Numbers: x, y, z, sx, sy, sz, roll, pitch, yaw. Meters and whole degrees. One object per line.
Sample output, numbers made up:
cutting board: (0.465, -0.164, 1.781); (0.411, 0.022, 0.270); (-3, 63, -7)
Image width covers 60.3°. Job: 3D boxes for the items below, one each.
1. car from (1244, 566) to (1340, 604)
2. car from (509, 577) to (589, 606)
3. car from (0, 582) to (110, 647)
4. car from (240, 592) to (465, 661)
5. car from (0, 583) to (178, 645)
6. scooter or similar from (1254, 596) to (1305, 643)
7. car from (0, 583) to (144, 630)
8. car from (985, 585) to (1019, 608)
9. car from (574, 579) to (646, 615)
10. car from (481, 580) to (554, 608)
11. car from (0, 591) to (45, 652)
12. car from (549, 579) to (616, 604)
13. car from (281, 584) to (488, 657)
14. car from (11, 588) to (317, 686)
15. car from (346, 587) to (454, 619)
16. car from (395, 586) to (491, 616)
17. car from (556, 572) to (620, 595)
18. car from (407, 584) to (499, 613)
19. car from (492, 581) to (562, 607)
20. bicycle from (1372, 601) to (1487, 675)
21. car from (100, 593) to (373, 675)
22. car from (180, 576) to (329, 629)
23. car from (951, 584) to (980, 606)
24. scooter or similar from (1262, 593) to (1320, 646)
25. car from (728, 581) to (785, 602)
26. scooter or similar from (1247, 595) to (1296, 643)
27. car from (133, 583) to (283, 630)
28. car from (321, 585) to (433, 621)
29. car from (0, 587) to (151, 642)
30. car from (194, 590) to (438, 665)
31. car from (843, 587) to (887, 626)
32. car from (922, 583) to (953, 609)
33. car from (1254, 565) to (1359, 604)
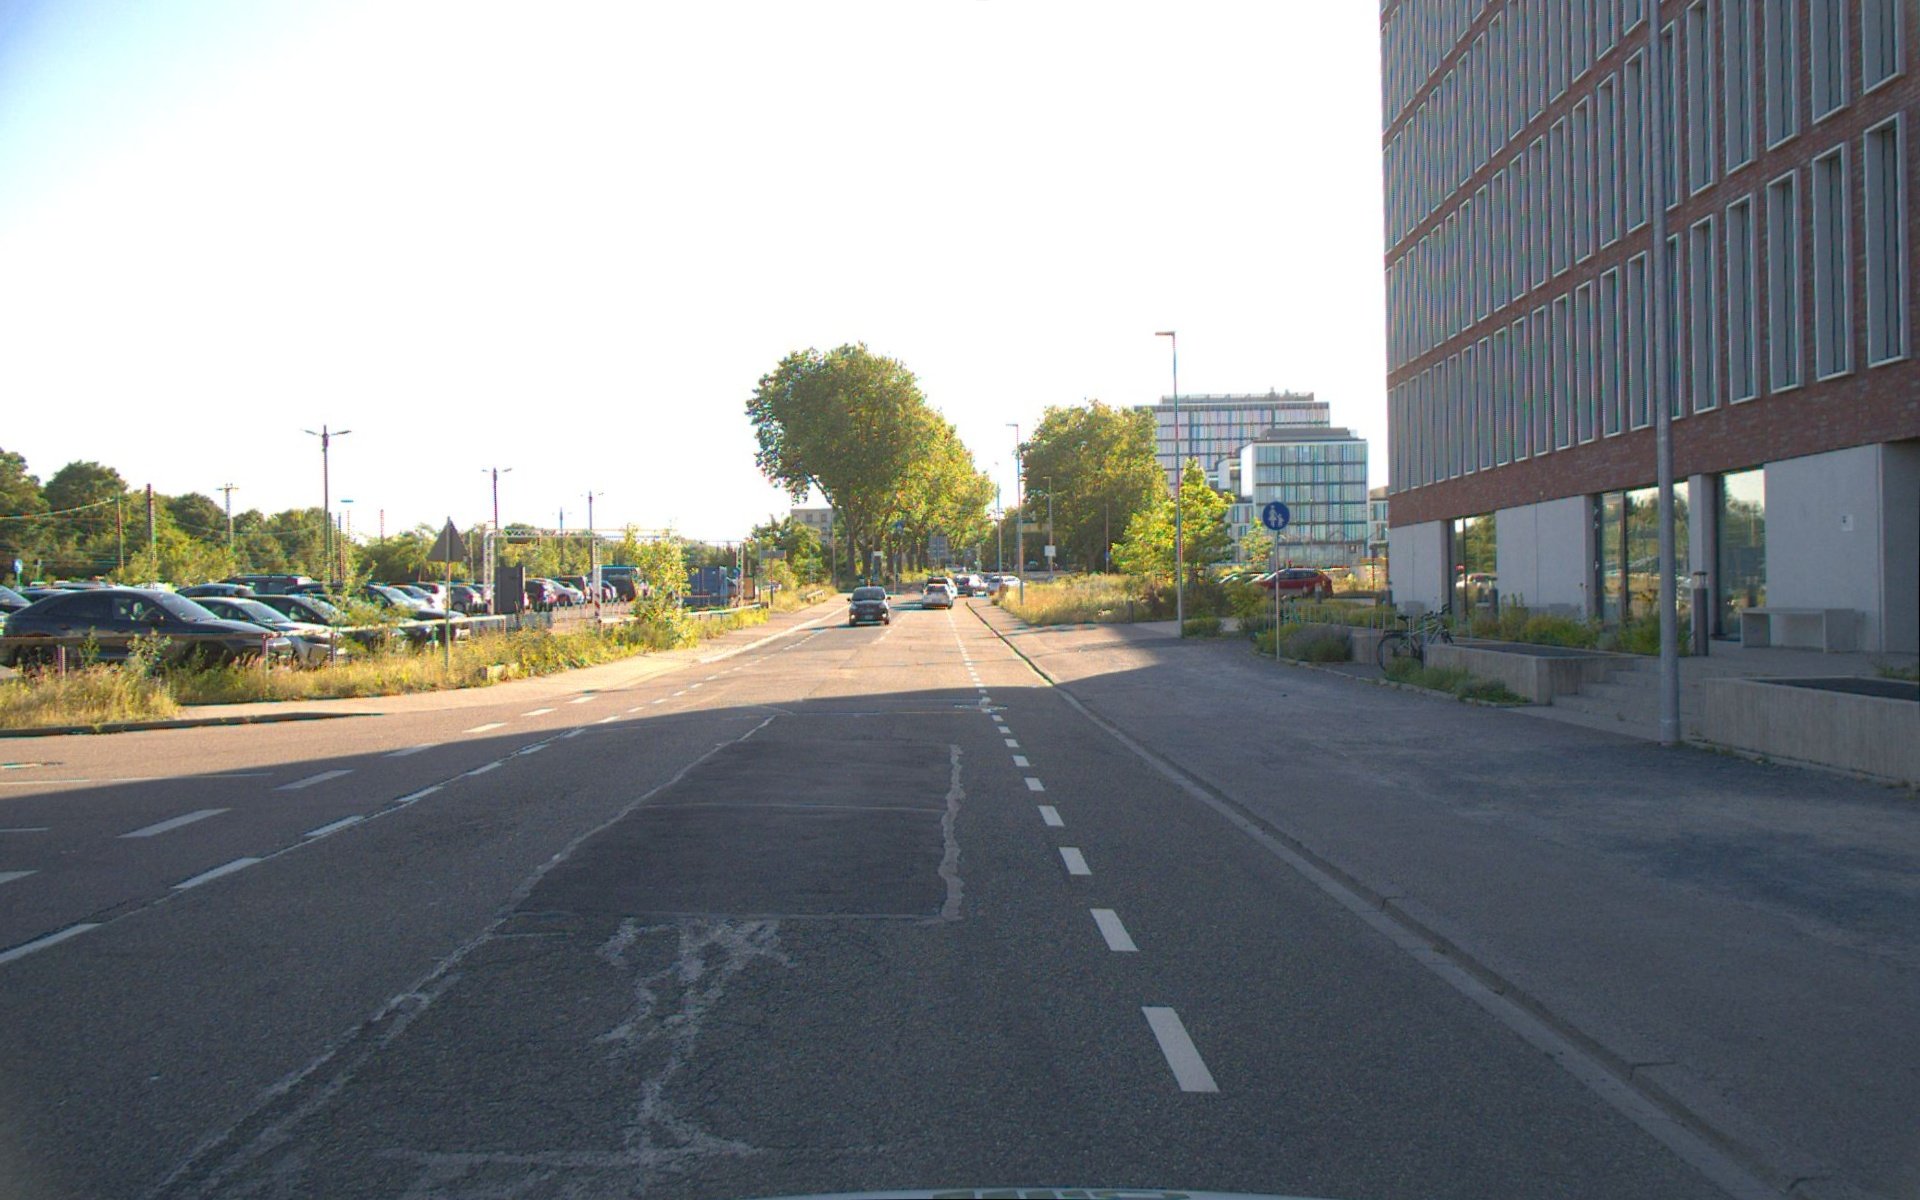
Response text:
car: (15.341, -0.701, 76.574); (4.097, 1.608, 1.852); (0, -3, 2)
car: (-25.726, -0.565, 103.658); (4.484, 1.771, 2.059); (0, 1, 3)
car: (-24.263, 0.364, 42.180); (4.079, 1.606, 2.047); (-1, 0, -5)
car: (-13.761, 0.572, 37.646); (4.337, 1.487, 2.049); (0, 0, 0)
car: (-24.694, 0.372, 46.925); (4.078, 1.691, 1.965); (0, 0, -4)
scooter or similar: (8.104, 0.488, 41.962); (1.217, 1.176, 0.366); (-1, 0, 3)
car: (-30.376, 0.204, 56.303); (4.277, 1.572, 1.857); (0, 1, 0)
car: (3.378, -0.292, 132.181); (2.117, 1.713, 4.004); (-1, 0, 11)
car: (-25.840, -0.213, 122.226); (4.827, 2.503, 2.319); (-1, 0, -2)
car: (-25.773, -0.366, 96.398); (3.804, 1.631, 1.878); (0, 1, -2)
car: (-24.415, 0.506, 39.372); (4.079, 1.421, 2.047); (-1, 0, -5)
car: (-26.124, -0.597, 114.612); (4.234, 1.646, 1.878); (0, 1, -2)
car: (-14.065, 0.480, 40.614); (4.337, 1.699, 2.049); (0, 0, 0)
car: (-13.820, 0.617, 28.909); (4.337, 1.608, 2.049); (0, 0, 0)
car: (-25.335, 0.140, 74.899); (4.233, 1.417, 1.878); (0, 1, 0)
car: (-25.855, 0.040, 82.799); (4.234, 1.444, 1.878); (0, 1, -2)
car: (-26.290, -1.187, 117.114); (4.122, 1.646, 1.878); (0, 1, -2)
car: (-26.235, -0.099, 85.667); (4.234, 1.444, 1.878); (0, 1, -2)
car: (-26.358, -0.397, 100.788); (3.804, 1.546, 1.878); (0, 1, -2)
bicycle: (8.163, 0.653, 28.741); (1.895, 1.190, 0.375); (-2, 0, -7)
car: (-13.835, 0.634, 31.814); (4.337, 1.487, 2.049); (0, 0, 0)
car: (-25.121, 0.082, 58.999); (4.482, 1.836, 1.857); (0, 1, 0)
car: (0.455, -0.368, 126.606); (2.119, 1.713, 4.001); (0, 0, 1)
scooter or similar: (8.084, 0.478, 40.404); (1.312, 1.267, 0.424); (-1, 0, 3)
car: (-16.169, -0.676, 131.635); (4.336, 1.585, 1.878); (0, 1, -2)
scooter or similar: (8.183, 0.497, 43.488); (1.217, 1.216, 0.340); (-1, 0, 3)
car: (-25.686, 0.218, 56.609); (4.277, 1.572, 1.857); (0, 1, 0)
car: (-25.442, 0.110, 72.306); (4.233, 1.550, 1.878); (0, 1, 0)
car: (-24.384, 0.379, 44.622); (4.079, 1.421, 2.047); (-1, 0, -5)
car: (-13.578, 0.557, 35.059); (4.337, 1.487, 2.049); (0, 0, 0)
car: (-3.921, 0.283, 68.772); (1.620, 1.529, 3.999); (-2, 0, 0)
car: (-1.309, -0.259, 97.598); (1.753, 1.445, 4.000); (0, 1, 0)
car: (14.543, -0.642, 69.635); (4.097, 1.608, 1.852); (0, 1, 2)
